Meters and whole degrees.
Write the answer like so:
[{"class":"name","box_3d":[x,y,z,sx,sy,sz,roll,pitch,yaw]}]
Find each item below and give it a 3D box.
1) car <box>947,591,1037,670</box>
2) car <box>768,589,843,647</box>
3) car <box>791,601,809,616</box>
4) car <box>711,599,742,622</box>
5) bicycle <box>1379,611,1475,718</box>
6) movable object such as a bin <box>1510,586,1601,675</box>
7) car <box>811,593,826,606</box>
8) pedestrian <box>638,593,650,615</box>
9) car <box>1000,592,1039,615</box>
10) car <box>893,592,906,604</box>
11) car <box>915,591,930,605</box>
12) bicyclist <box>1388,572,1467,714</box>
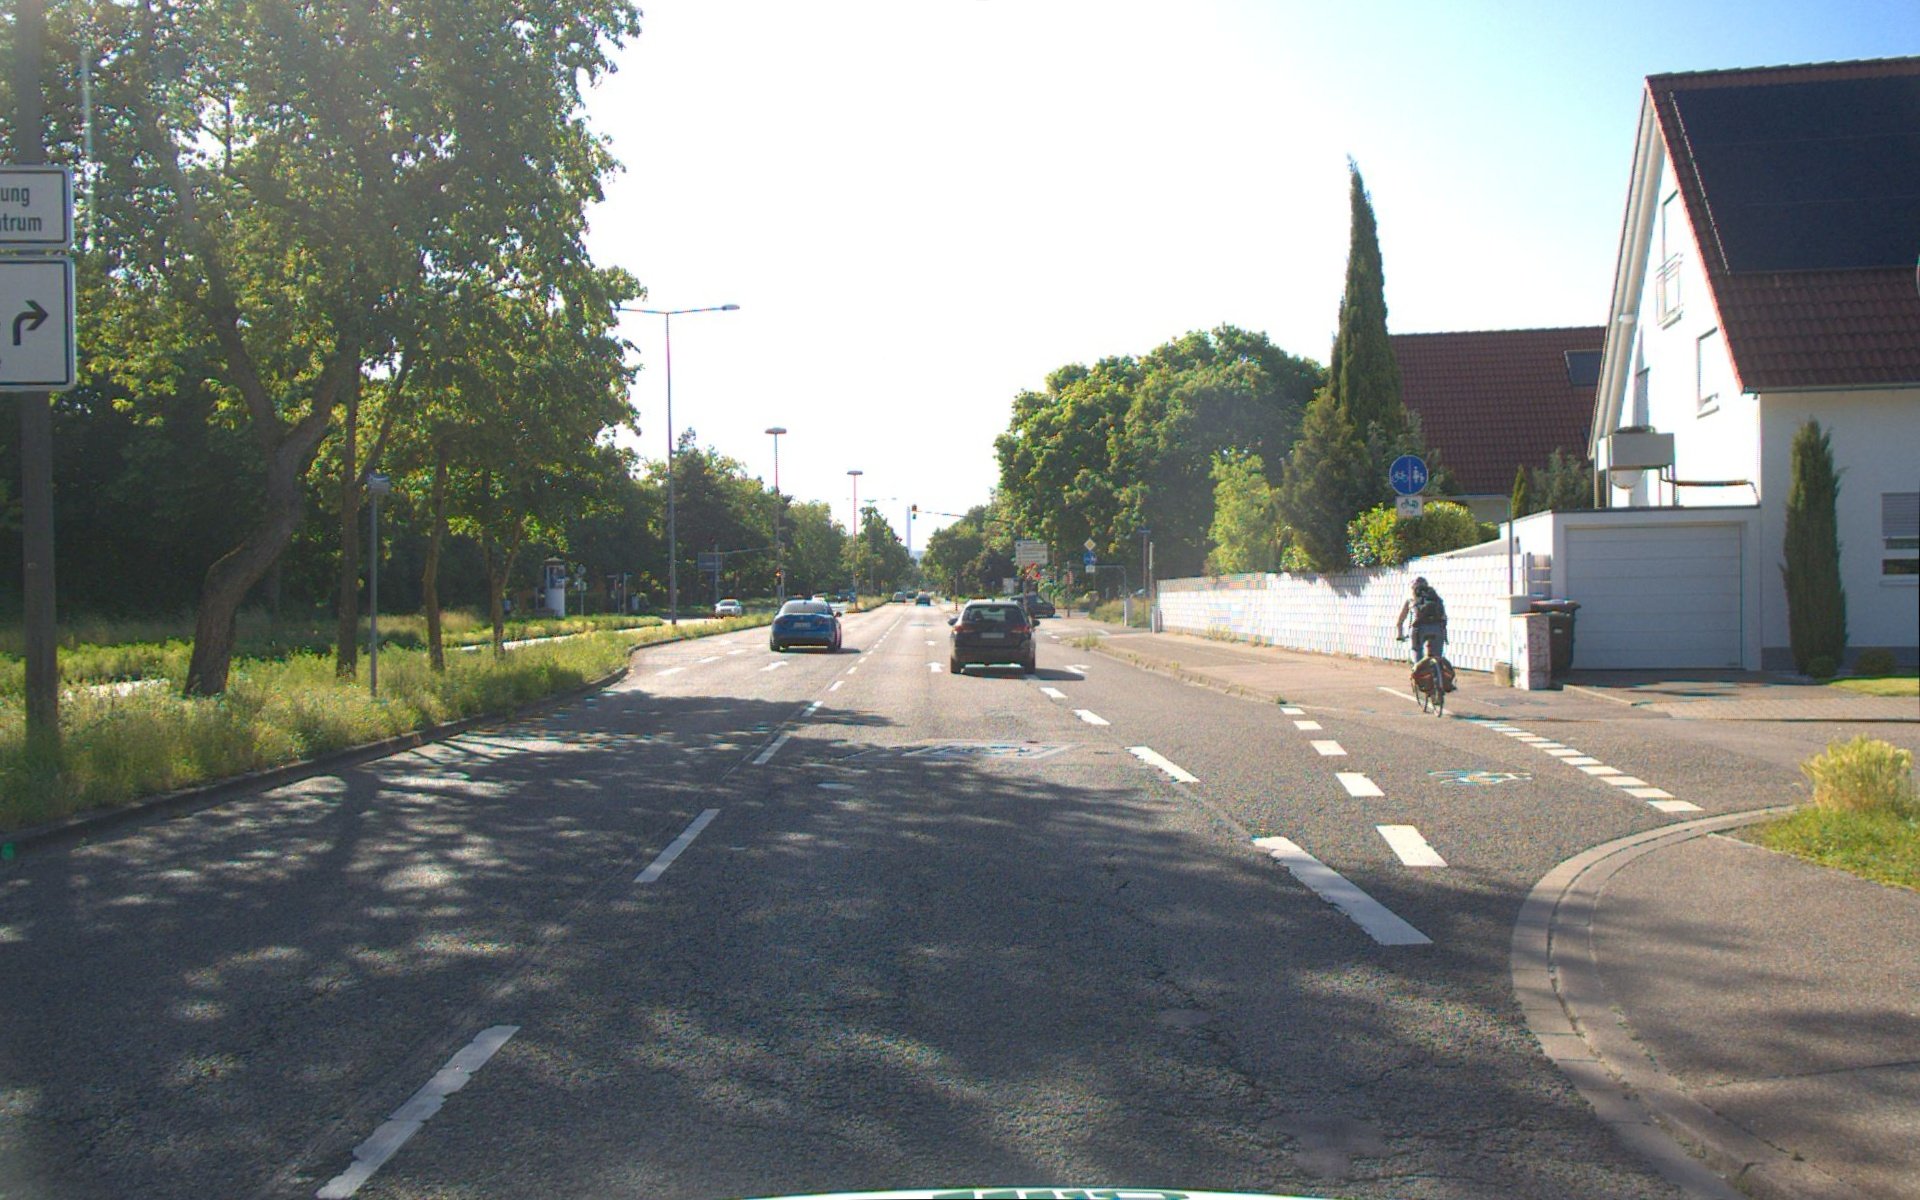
[{"class":"car","box_3d":[0.614,0.607,34.443,1.720,1.535,3.807,0,0,-1]},{"class":"car","box_3d":[-4.413,0.494,47.734,1.850,1.579,3.999,-1,0,-1]},{"class":"car","box_3d":[-19.374,1.021,200.267,1.826,1.713,4.259,1,0,-1]},{"class":"car","box_3d":[-18.249,0.841,129.486,1.873,1.733,4.406,1,-1,-1]},{"class":"bicycle","box_3d":[5.749,0.761,20.466,0.562,1.175,2.141,-4,1,1]},{"class":"movable object such as a bin","box_3d":[8.655,0.443,24.080,0.980,1.226,1.063,-2,-1,6]},{"class":"car","box_3d":[-20.502,-0.091,239.752,1.826,1.713,3.999,2,0,-1]},{"class":"pedestrian","box_3d":[-27.640,0.317,144.539,0.828,1.864,0.550,0,9,1]},{"class":"car","box_3d":[4.090,0.236,113.653,1.696,1.485,3.842,0,0,18]},{"class":"car","box_3d":[-8.397,-0.318,231.514,1.788,1.643,3.838,0,-1,-2]},{"class":"car","box_3d":[-4.643,-0.241,203.069,1.697,1.613,3.838,1,0,-2]},{"class":"bicyclist","box_3d":[5.715,0.504,20.258,0.617,1.661,0.982,-4,1,1]}]
